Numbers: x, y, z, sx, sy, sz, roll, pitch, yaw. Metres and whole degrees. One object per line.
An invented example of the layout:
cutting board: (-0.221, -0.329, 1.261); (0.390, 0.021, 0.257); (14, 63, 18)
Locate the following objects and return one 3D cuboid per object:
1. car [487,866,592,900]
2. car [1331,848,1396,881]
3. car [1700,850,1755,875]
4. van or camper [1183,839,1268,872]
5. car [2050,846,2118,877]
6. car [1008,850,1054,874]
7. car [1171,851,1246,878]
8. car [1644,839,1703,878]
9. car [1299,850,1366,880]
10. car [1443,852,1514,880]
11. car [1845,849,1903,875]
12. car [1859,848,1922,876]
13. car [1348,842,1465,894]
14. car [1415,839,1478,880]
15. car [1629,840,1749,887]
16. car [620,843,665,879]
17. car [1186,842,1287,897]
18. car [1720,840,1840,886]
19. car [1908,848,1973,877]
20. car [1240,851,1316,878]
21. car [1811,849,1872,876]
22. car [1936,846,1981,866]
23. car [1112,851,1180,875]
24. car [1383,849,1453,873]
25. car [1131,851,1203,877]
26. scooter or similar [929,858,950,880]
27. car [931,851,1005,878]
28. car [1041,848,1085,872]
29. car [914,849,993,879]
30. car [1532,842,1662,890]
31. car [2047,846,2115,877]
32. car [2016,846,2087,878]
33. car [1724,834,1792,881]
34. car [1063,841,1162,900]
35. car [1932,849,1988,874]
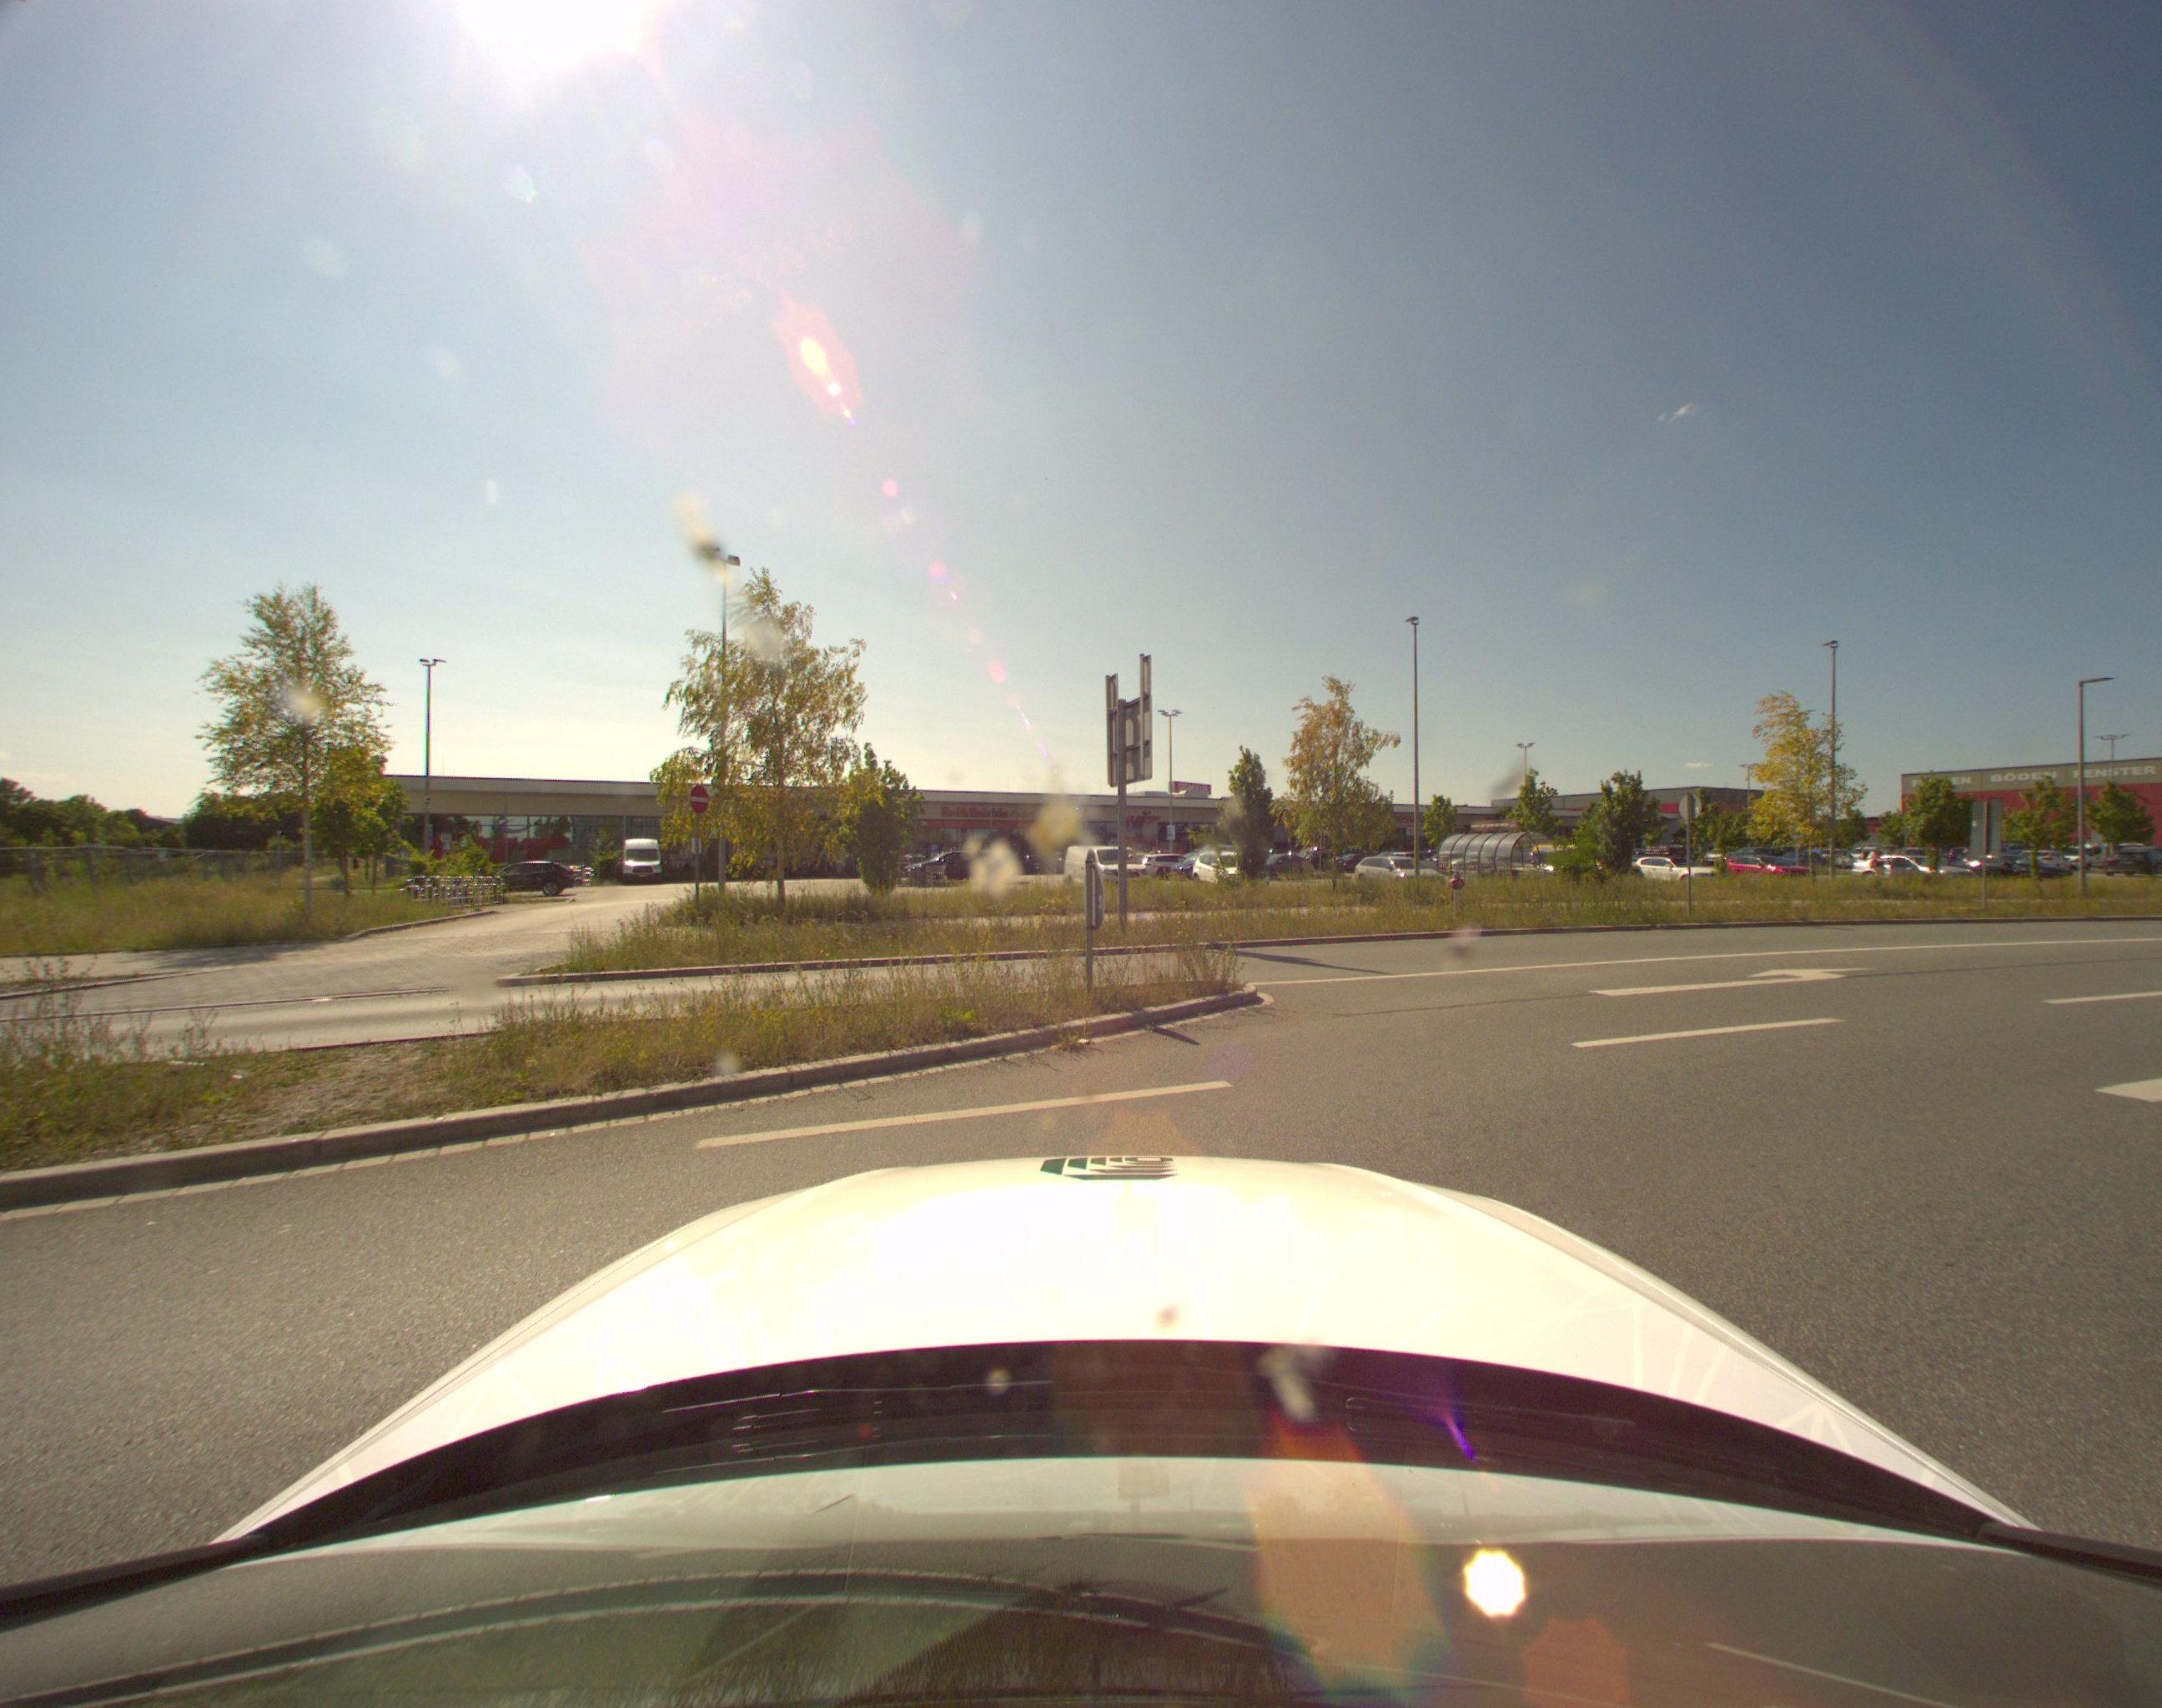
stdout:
car: (-24.564, 1.295, 37.089); (3.856, 1.423, 1.755); (0, -1, -30)
car: (19.863, 0.726, 57.221); (4.500, 2.191, 1.980); (0, -1, -32)
car: (55.615, 0.716, 70.020); (4.493, 2.038, 1.983); (0, -1, -26)
van or camper: (9.237, 0.095, 52.019); (5.058, 2.013, 1.984); (-1, 0, -24)
car: (69.403, 0.520, 56.359); (4.493, 2.038, 1.983); (0, -1, -26)
car: (-3.695, 0.562, 59.850); (2.004, 1.707, 3.965); (-1, 0, -27)
car: (6.904, 0.532, 44.132); (3.742, 1.390, 1.716); (-1, 0, -29)
car: (44.489, 0.308, 61.131); (4.500, 2.821, 1.980); (0, -1, -32)
car: (18.506, 0.802, 59.989); (4.487, 2.103, 1.985); (0, -1, -22)
car: (27.118, 0.786, 55.539); (4.493, 1.863, 1.983); (0, -1, -26)
car: (64.228, 0.633, 65.978); (4.493, 2.038, 1.983); (0, -1, -26)
car: (60.621, 0.609, 61.015); (4.493, 2.038, 1.983); (0, -1, -26)
car: (13.600, 0.528, 34.405); (2.159, 2.013, 5.095); (0, 0, -12)
car: (26.116, 0.384, 58.169); (4.500, 2.821, 1.980); (0, -1, -32)
car: (28.038, 0.412, 37.759); (1.937, 2.013, 4.397); (0, 0, -9)
car: (-26.462, 0.382, 49.019); (2.236, 1.977, 6.632); (-1, 0, -30)
car: (6.047, 0.552, 32.336); (2.159, 2.013, 5.095); (0, 0, -12)
car: (32.876, 0.396, 38.467); (1.875, 2.013, 4.128); (0, 0, -7)
car: (62.096, 0.582, 58.842); (4.493, 2.038, 1.983); (0, -1, -26)
car: (11.405, 0.610, 47.086); (4.006, 1.508, 1.859); (0, -1, -25)
car: (59.242, 0.638, 63.420); (4.493, 2.038, 1.983); (0, -1, -26)
car: (90.125, 0.241, 83.640); (4.493, 2.038, 1.983); (0, -1, -26)
car: (3.900, 0.531, 48.915); (3.742, 1.390, 1.716); (-1, 0, -29)
car: (21.808, 0.455, 52.651); (4.356, 1.520, 1.642); (0, -1, -24)
car: (4.869, 0.520, 46.047); (3.742, 1.390, 1.716); (-1, 0, -29)
scooter or similar: (-7.187, 0.746, 41.443); (0.947, 1.079, 0.647); (-1, 0, -22)
car: (-7.334, 0.670, 52.955); (4.490, 1.706, 1.860); (0, -1, -23)
car: (-1.382, 0.451, 61.269); (2.002, 1.707, 3.970); (-1, 0, -22)
car: (-6.807, 0.504, 43.468); (3.813, 1.508, 1.717); (-1, 0, -26)
car: (23.088, 0.496, 36.715); (2.157, 2.013, 5.100); (0, 0, -9)
car: (69.335, 0.522, 56.469); (4.493, 2.038, 1.983); (0, -1, -26)
car: (63.946, 0.527, 53.655); (4.493, 2.038, 1.983); (0, -1, -26)
car: (42.728, 0.233, 51.379); (4.500, 2.821, 1.980); (0, -1, -32)
car: (1.069, 0.562, 30.714); (2.086, 2.013, 5.197); (0, 0, -18)
car: (73.024, 0.598, 67.660); (4.493, 2.038, 1.983); (0, -1, -26)
